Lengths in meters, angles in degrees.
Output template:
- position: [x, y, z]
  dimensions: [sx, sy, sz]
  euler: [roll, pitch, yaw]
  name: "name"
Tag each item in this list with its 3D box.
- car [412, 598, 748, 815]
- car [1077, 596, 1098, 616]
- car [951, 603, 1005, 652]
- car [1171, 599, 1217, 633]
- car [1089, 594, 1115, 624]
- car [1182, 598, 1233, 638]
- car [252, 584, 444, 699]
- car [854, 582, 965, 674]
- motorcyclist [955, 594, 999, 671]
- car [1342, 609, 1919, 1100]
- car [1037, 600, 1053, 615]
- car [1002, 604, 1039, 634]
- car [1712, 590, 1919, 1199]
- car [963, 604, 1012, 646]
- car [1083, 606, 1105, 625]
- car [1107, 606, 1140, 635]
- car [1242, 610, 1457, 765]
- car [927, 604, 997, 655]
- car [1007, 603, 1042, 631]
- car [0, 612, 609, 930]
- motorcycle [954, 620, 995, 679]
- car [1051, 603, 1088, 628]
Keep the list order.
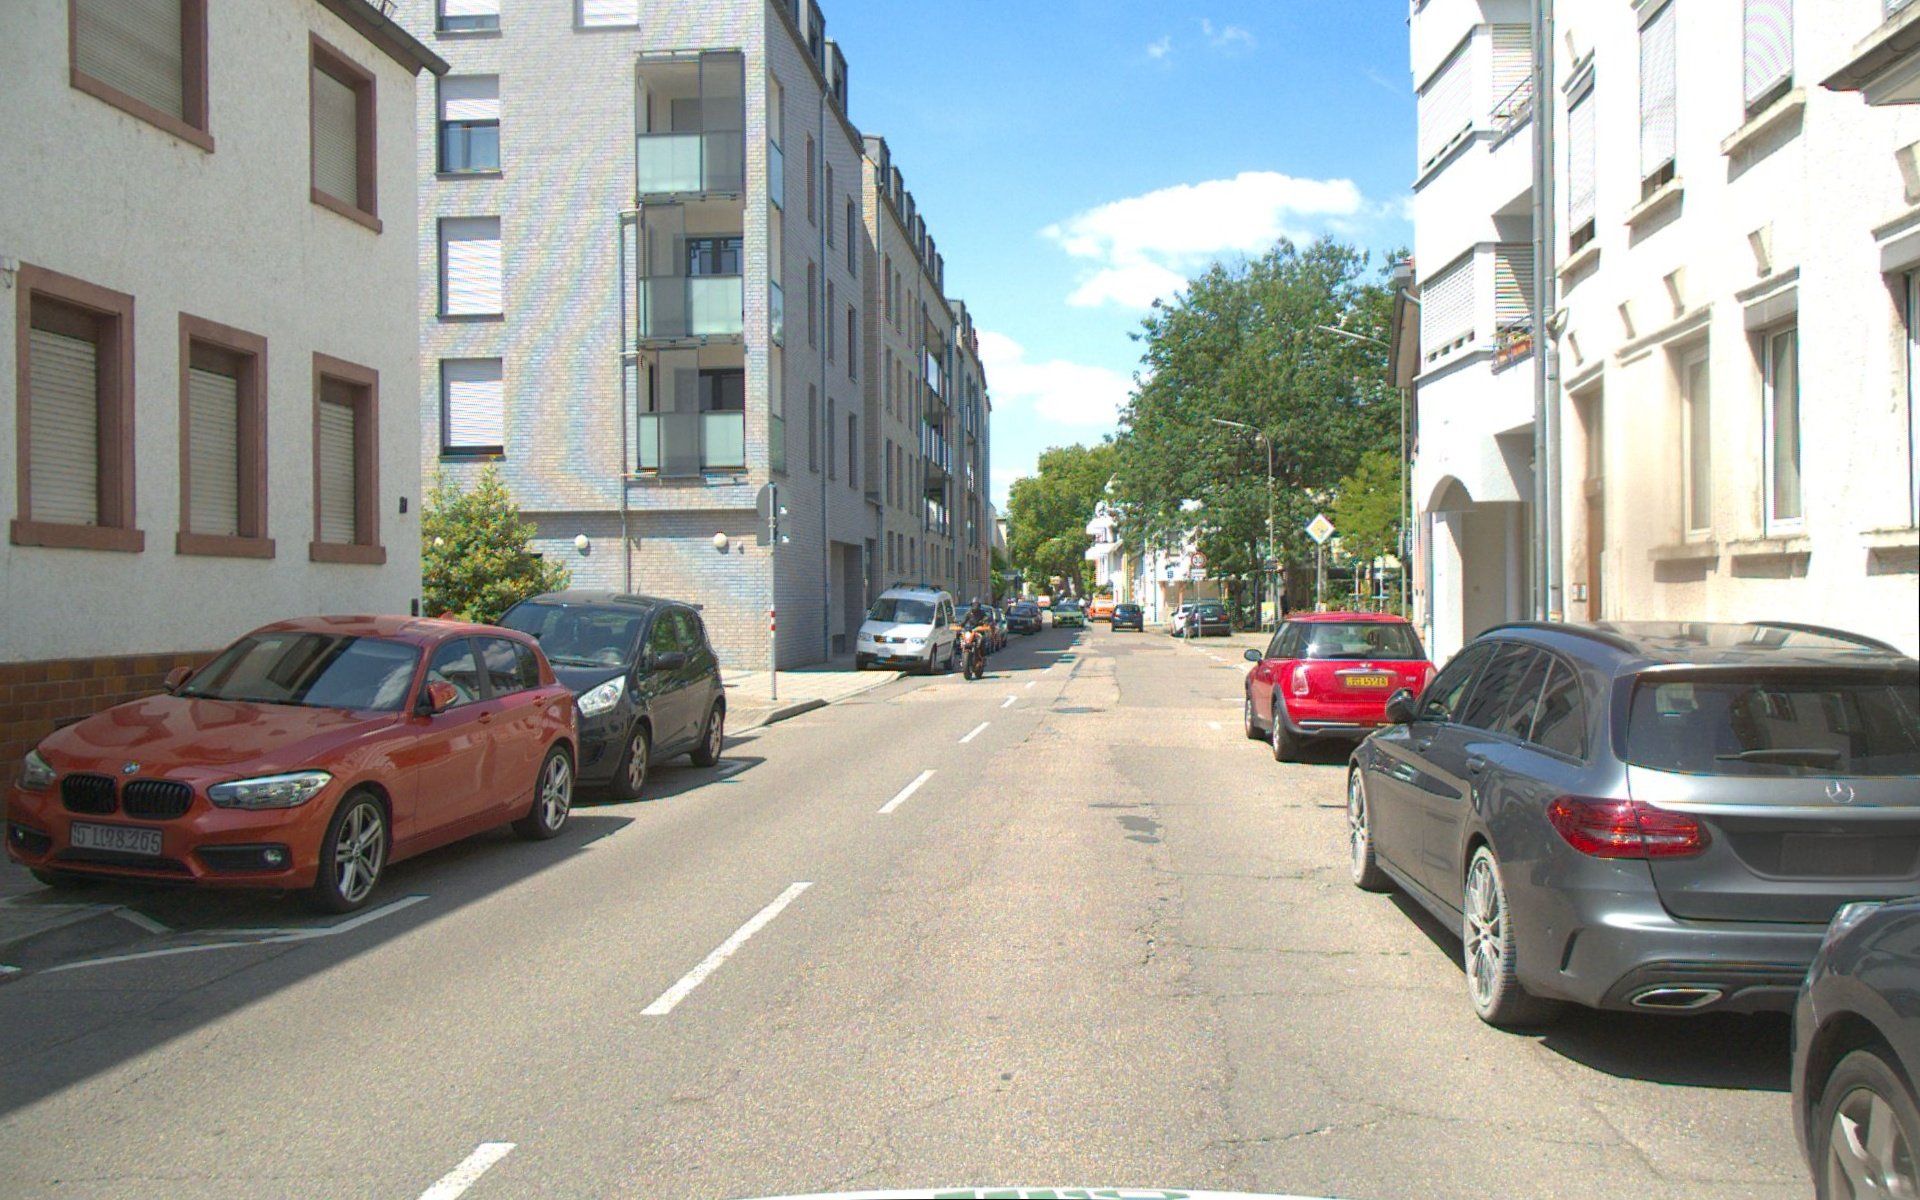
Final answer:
- position: [-3.230, 0.823, 14.874]
  dimensions: [1.756, 1.675, 3.947]
  euler: [0, 0, 6]
  name: "car"
- position: [10.882, 0.502, 140.839]
  dimensions: [1.675, 1.662, 3.705]
  euler: [-1, 0, 3]
  name: "car"
- position: [0.620, 0.888, 55.264]
  dimensions: [1.557, 1.581, 3.573]
  euler: [0, 0, 4]
  name: "car"
- position: [10.390, 0.707, 73.697]
  dimensions: [1.741, 1.445, 4.002]
  euler: [-1, 0, 4]
  name: "car"
- position: [10.318, 0.651, 119.766]
  dimensions: [1.800, 2.049, 4.003]
  euler: [-1, 0, 5]
  name: "car"
- position: [10.051, 0.720, 67.428]
  dimensions: [1.657, 1.445, 4.002]
  euler: [-4, 0, 4]
  name: "car"
- position: [-9.147, 0.565, 24.600]
  dimensions: [1.623, 1.566, 3.513]
  euler: [1, 0, -39]
  name: "car"
- position: [-1.084, 0.587, 37.712]
  dimensions: [1.719, 1.925, 4.340]
  euler: [1, 0, 9]
  name: "car"
- position: [0.367, 0.663, 34.119]
  dimensions: [0.805, 1.535, 1.057]
  euler: [-1, 0, 4]
  name: "motorcyclist"
- position: [2.881, 0.787, 7.267]
  dimensions: [1.692, 1.445, 4.547]
  euler: [-1, 0, 5]
  name: "car"
- position: [11.661, 0.988, 227.425]
  dimensions: [2.111, 2.049, 4.002]
  euler: [-1, 0, 4]
  name: "car"
- position: [3.133, 0.969, 85.303]
  dimensions: [1.696, 1.467, 4.002]
  euler: [-1, 0, 4]
  name: "car"
- position: [2.545, 0.735, 2.075]
  dimensions: [1.673, 1.534, 4.002]
  euler: [-1, 0, 5]
  name: "car"
- position: [1.039, 0.897, 60.545]
  dimensions: [1.557, 1.481, 3.705]
  euler: [1, 0, 4]
  name: "car"
- position: [12.109, 1.381, 149.529]
  dimensions: [1.952, 1.646, 4.002]
  euler: [0, 0, 3]
  name: "car"
- position: [8.640, 1.049, 87.453]
  dimensions: [1.679, 1.426, 4.003]
  euler: [-1, 0, 5]
  name: "car"
- position: [3.950, 0.835, 17.275]
  dimensions: [1.585, 1.410, 3.540]
  euler: [-1, 0, 3]
  name: "car"
- position: [0.105, 0.862, 50.227]
  dimensions: [1.686, 1.482, 4.008]
  euler: [0, 0, 6]
  name: "car"
- position: [3.540, 0.931, 90.364]
  dimensions: [1.696, 1.467, 4.002]
  euler: [-1, 0, 4]
  name: "car"
- position: [-3.704, 0.823, 9.906]
  dimensions: [1.795, 1.441, 4.293]
  euler: [-1, 0, 7]
  name: "car"
- position: [0.309, 1.007, 34.139]
  dimensions: [0.673, 1.142, 2.029]
  euler: [-1, 0, 5]
  name: "motorcycle"
- position: [6.621, 0.936, 99.375]
  dimensions: [1.951, 1.405, 4.396]
  euler: [1, 0, 7]
  name: "car"
